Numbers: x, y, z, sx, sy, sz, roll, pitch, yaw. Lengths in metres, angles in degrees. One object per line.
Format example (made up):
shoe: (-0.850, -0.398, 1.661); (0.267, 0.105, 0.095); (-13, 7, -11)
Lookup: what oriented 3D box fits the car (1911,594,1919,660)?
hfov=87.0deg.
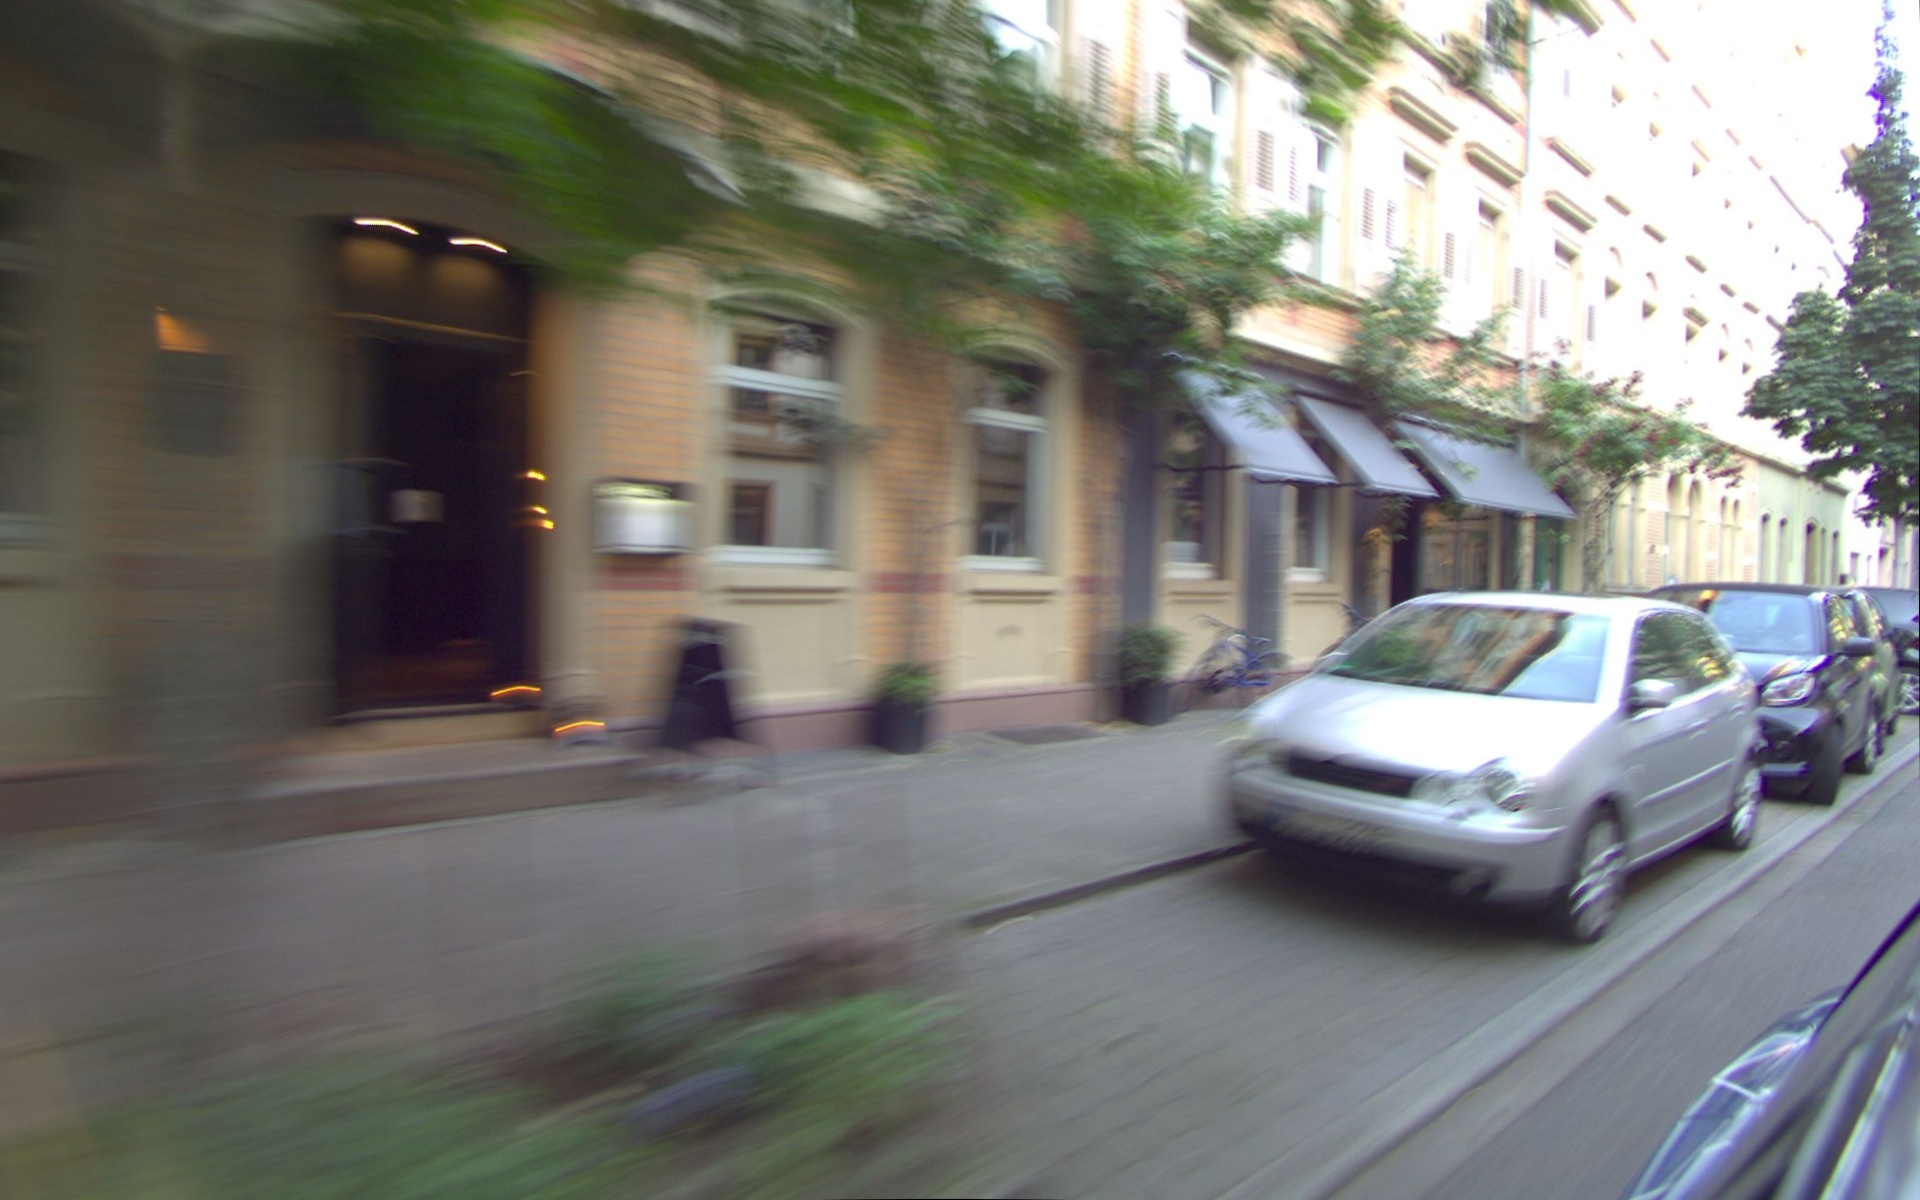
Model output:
car: (23.216, 0.618, 22.817); (4.781, 1.421, 2.051); (0, 2, -41)

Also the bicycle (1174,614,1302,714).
bicycle: (2.733, 0.590, 9.869); (1.521, 0.870, 0.446); (0, 1, -42)

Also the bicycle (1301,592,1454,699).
bicycle: (4.654, 0.462, 11.224); (1.915, 1.048, 0.688); (0, 4, -39)

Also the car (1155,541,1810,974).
car: (3.040, 0.518, 5.496); (4.031, 1.509, 1.737); (0, 2, -40)

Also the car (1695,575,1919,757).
car: (8.833, 0.562, 10.457); (2.869, 1.571, 1.466); (0, 2, -44)

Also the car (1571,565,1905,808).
car: (6.376, 0.538, 8.205); (3.069, 1.580, 1.593); (0, 1, -42)

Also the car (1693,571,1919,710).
car: (11.654, 0.480, 13.475); (1.499, 1.592, 2.721); (0, 3, -40)

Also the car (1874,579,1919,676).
car: (18.283, 0.477, 18.400); (4.375, 1.651, 1.943); (0, 1, -41)
